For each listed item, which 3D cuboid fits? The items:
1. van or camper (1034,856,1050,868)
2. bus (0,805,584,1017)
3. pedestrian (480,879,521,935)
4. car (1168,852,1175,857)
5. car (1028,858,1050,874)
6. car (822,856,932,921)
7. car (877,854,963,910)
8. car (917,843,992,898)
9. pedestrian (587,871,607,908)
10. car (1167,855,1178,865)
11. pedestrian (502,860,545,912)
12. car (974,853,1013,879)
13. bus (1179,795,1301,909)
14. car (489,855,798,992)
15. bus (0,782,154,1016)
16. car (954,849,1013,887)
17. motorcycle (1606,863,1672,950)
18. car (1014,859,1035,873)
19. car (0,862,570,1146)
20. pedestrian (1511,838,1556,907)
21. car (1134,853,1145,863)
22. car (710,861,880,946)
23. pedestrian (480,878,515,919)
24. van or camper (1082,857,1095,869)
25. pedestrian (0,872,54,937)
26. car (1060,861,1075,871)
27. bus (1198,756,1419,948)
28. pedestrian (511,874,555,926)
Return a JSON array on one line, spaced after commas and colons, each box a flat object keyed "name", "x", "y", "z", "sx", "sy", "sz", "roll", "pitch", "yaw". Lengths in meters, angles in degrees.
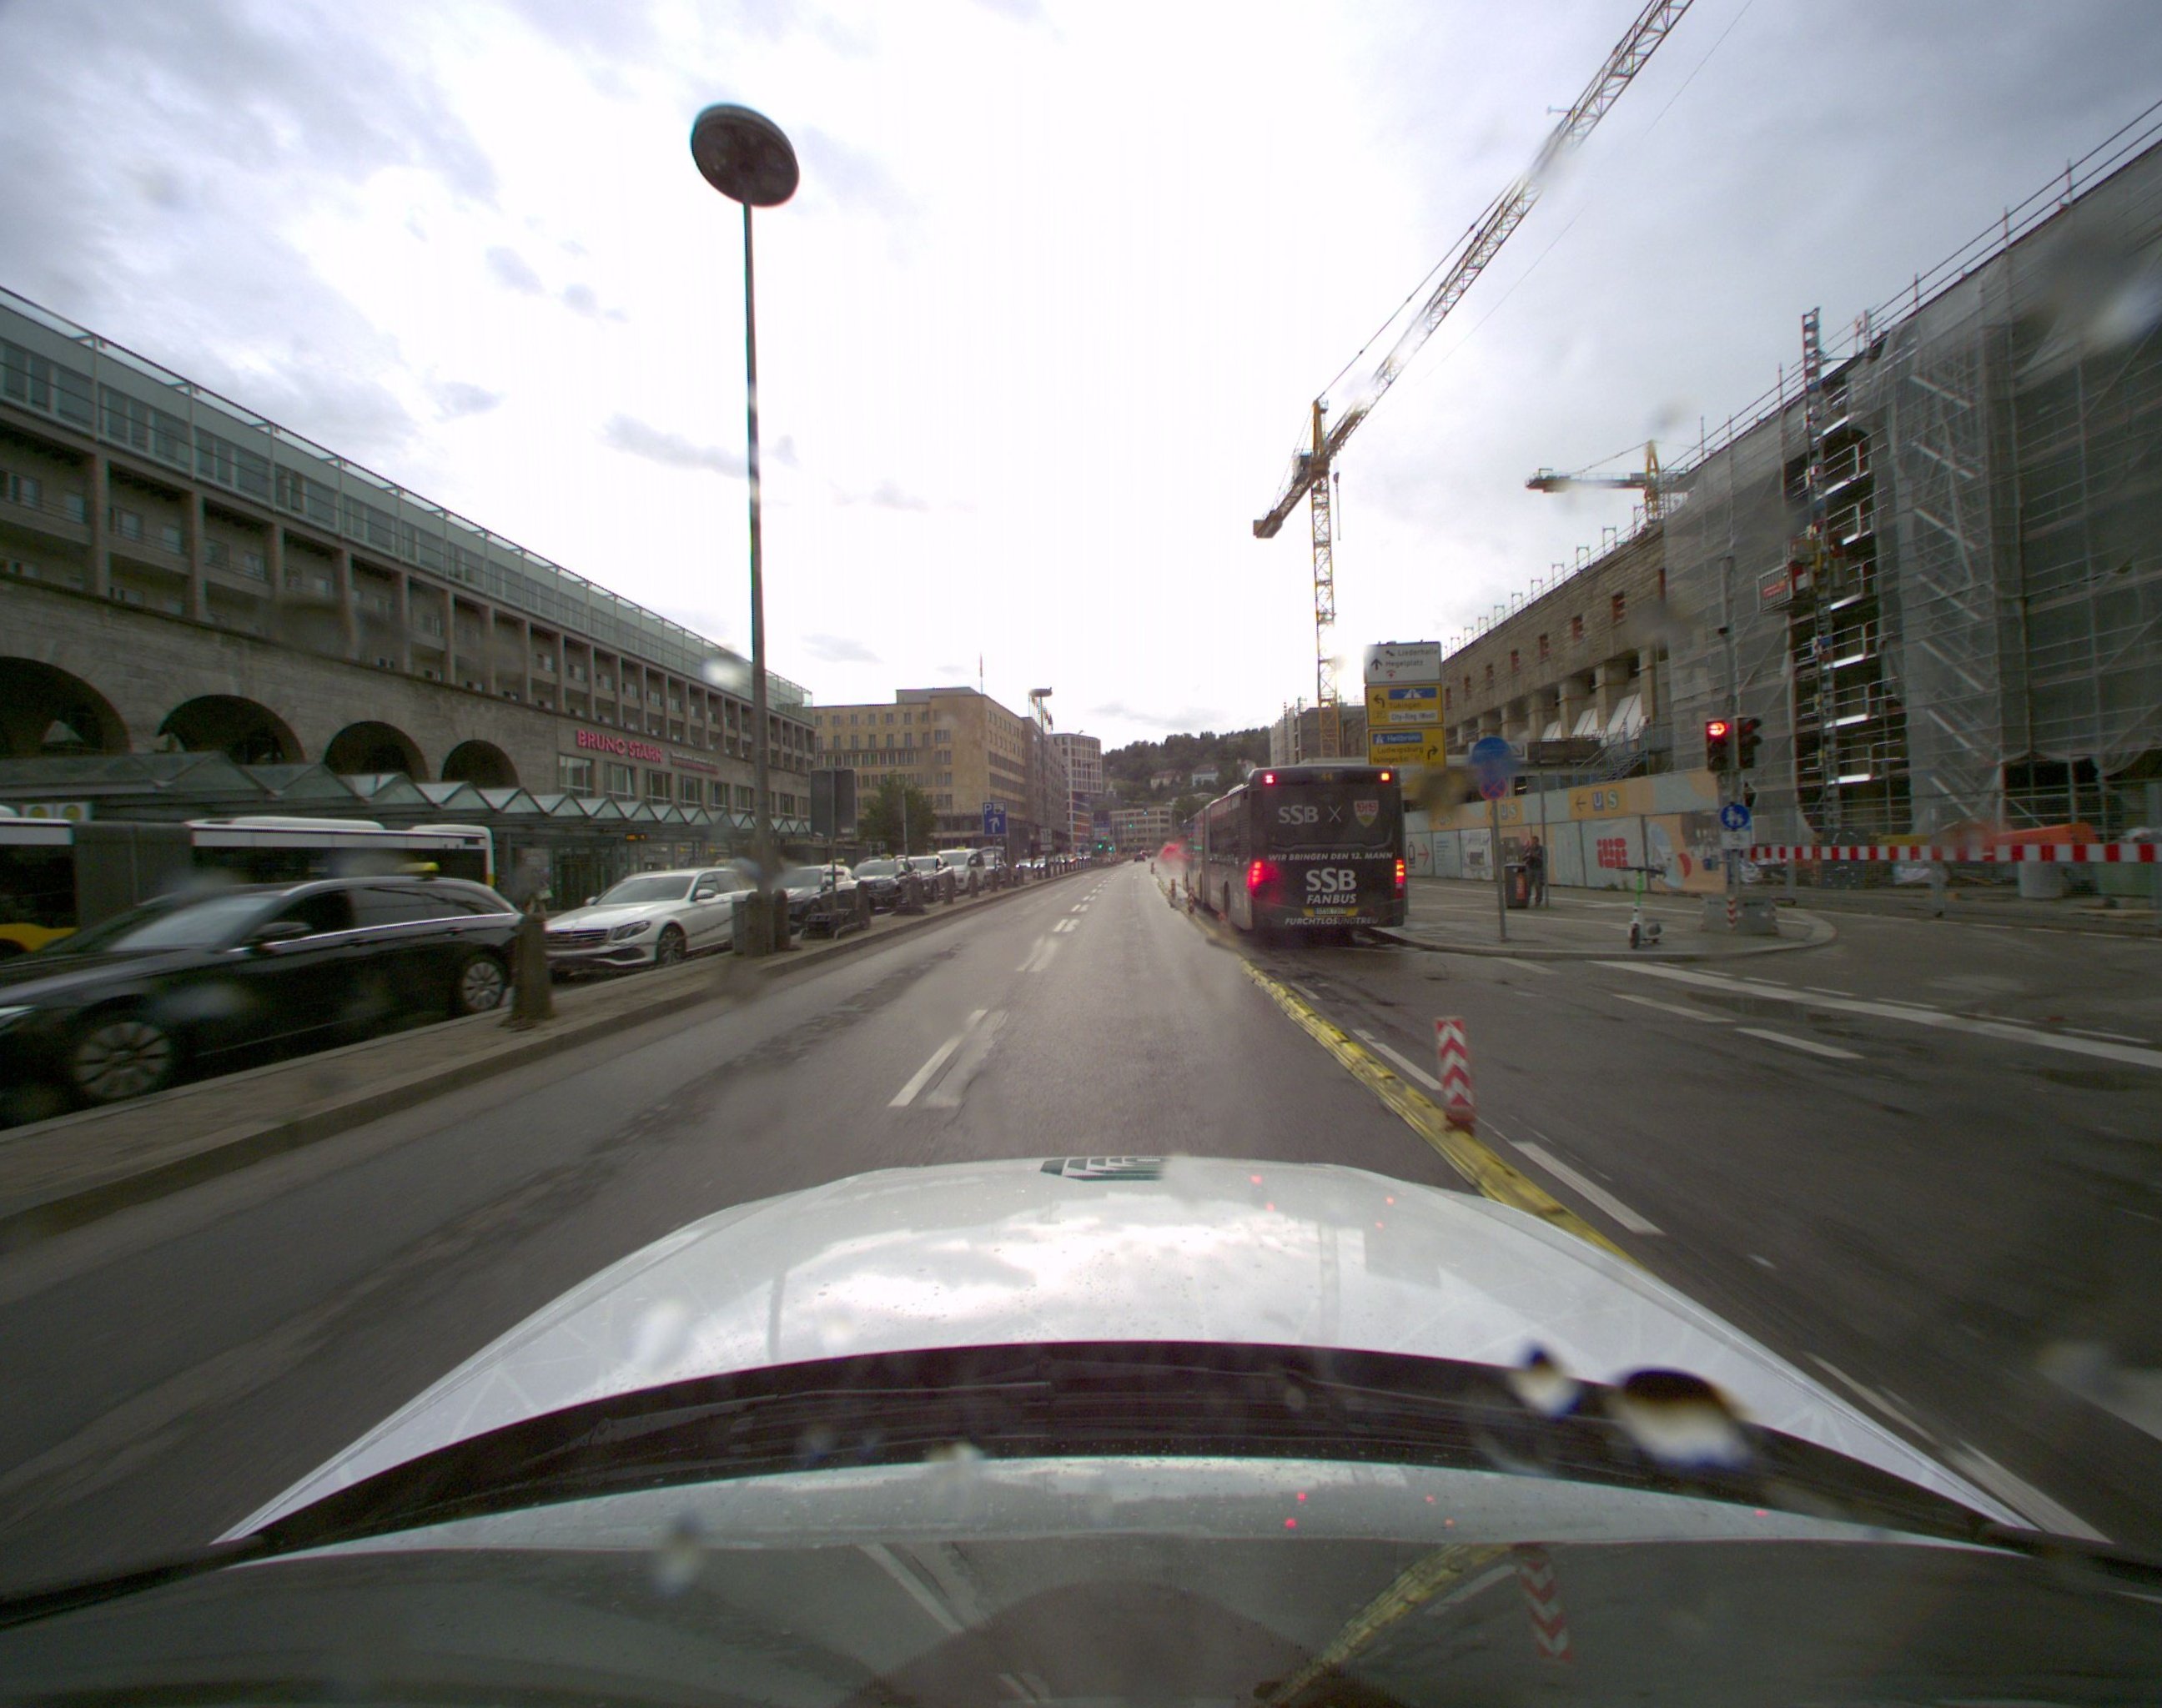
[{"name": "van or camper", "x": -6.725, "y": 1.379, "z": 142.327, "sx": 1.984, "sy": 2.013, "sz": 4.973, "roll": -2, "pitch": 0, "yaw": 6}, {"name": "bus", "x": -16.526, "y": 0.929, "z": 18.887, "sx": 2.865, "sy": 3.459, "sz": 10.584, "roll": -2, "pitch": 0, "yaw": 3}, {"name": "pedestrian", "x": -18.579, "y": 1.694, "z": 26.070, "sx": 0.621, "sy": 1.725, "sz": 0.857, "roll": -1, "pitch": 0, "yaw": 4}, {"name": "car", "x": 23.280, "y": 0.132, "z": 209.600, "sx": 1.811, "sy": 1.442, "sz": 4.006, "roll": -1, "pitch": 1, "yaw": 5}, {"name": "car", "x": -4.815, "y": 1.379, "z": 93.732, "sx": 1.954, "sy": 1.564, "sz": 4.840, "roll": -4, "pitch": 0, "yaw": 3}, {"name": "car", "x": -6.193, "y": 0.969, "z": 25.390, "sx": 1.922, "sy": 1.698, "sz": 4.887, "roll": -4, "pitch": 0, "yaw": 2}, {"name": "car", "x": -5.910, "y": 0.964, "z": 30.500, "sx": 1.921, "sy": 1.806, "sz": 4.587, "roll": -4, "pitch": 0, "yaw": 4}, {"name": "car", "x": -5.468, "y": 0.663, "z": 35.992, "sx": 1.984, "sy": 2.178, "sz": 5.550, "roll": -2, "pitch": 0, "yaw": 4}, {"name": "pedestrian", "x": -23.541, "y": 1.727, "z": 39.609, "sx": 0.599, "sy": 1.725, "sz": 0.605, "roll": -1, "pitch": 0, "yaw": 3}, {"name": "car", "x": 17.208, "y": 1.072, "z": 153.115, "sx": 1.984, "sy": 1.706, "sz": 4.006, "roll": -3, "pitch": 0, "yaw": 5}, {"name": "pedestrian", "x": -19.958, "y": 1.139, "z": 29.173, "sx": 0.736, "sy": 1.808, "sz": 1.027, "roll": -1, "pitch": 0, "yaw": 4}, {"name": "car", "x": -5.720, "y": 0.780, "z": 53.805, "sx": 1.987, "sy": 1.552, "sz": 4.000, "roll": -3, "pitch": 0, "yaw": 1}, {"name": "bus", "x": 4.873, "y": -0.045, "z": 26.764, "sx": 2.743, "sy": 3.066, "sz": 9.001, "roll": -1, "pitch": 0, "yaw": 3}, {"name": "car", "x": -6.616, "y": 0.910, "z": 13.226, "sx": 1.969, "sy": 1.659, "sz": 5.195, "roll": -4, "pitch": 0, "yaw": 2}, {"name": "bus", "x": -17.246, "y": 0.724, "z": 8.345, "sx": 2.865, "sy": 3.376, "sz": 10.584, "roll": -2, "pitch": 0, "yaw": 3}, {"name": "car", "x": -4.837, "y": 0.636, "z": 41.292, "sx": 1.984, "sy": 1.722, "sz": 4.788, "roll": -2, "pitch": 0, "yaw": 5}, {"name": "motorcycle", "x": 8.237, "y": 0.727, "z": 12.004, "sx": 0.579, "sy": 1.166, "sz": 1.627, "roll": -1, "pitch": 0, "yaw": 42}, {"name": "car", "x": -7.068, "y": 1.487, "z": 101.972, "sx": 1.954, "sy": 1.564, "sz": 4.840, "roll": -4, "pitch": 0, "yaw": 3}, {"name": "car", "x": -7.062, "y": 0.939, "z": 7.013, "sx": 1.922, "sy": 1.576, "sz": 5.015, "roll": -4, "pitch": 0, "yaw": 2}, {"name": "pedestrian", "x": 11.043, "y": 0.438, "z": 19.878, "sx": 0.898, "sy": 1.635, "sz": 0.833, "roll": -2, "pitch": 0, "yaw": 30}, {"name": "car", "x": 10.334, "y": 0.728, "z": 143.609, "sx": 1.985, "sy": 1.552, "sz": 4.005, "roll": -3, "pitch": 0, "yaw": 4}, {"name": "car", "x": -6.413, "y": 1.019, "z": 19.015, "sx": 1.922, "sy": 1.576, "sz": 5.055, "roll": -4, "pitch": 0, "yaw": 2}, {"name": "pedestrian", "x": -24.351, "y": 1.832, "z": 34.010, "sx": 0.753, "sy": 1.655, "sz": 0.895, "roll": -1, "pitch": 0, "yaw": 5}, {"name": "van or camper", "x": 1.462, "y": 1.718, "z": 156.429, "sx": 1.983, "sy": 2.013, "sz": 5.199, "roll": -2, "pitch": 0, "yaw": 7}, {"name": "pedestrian", "x": -26.664, "y": 1.251, "z": 20.502, "sx": 0.627, "sy": 1.567, "sz": 0.758, "roll": -1, "pitch": 0, "yaw": 4}, {"name": "car", "x": -2.337, "y": 2.208, "z": 145.744, "sx": 1.983, "sy": 1.616, "sz": 4.987, "roll": -3, "pitch": 0, "yaw": 7}, {"name": "bus", "x": 4.321, "y": -0.028, "z": 17.714, "sx": 2.743, "sy": 3.068, "sz": 9.088, "roll": -1, "pitch": 0, "yaw": 3}, {"name": "pedestrian", "x": -18.379, "y": 1.542, "z": 27.335, "sx": 0.736, "sy": 1.667, "sz": 1.027, "roll": -1, "pitch": 0, "yaw": 4}]
